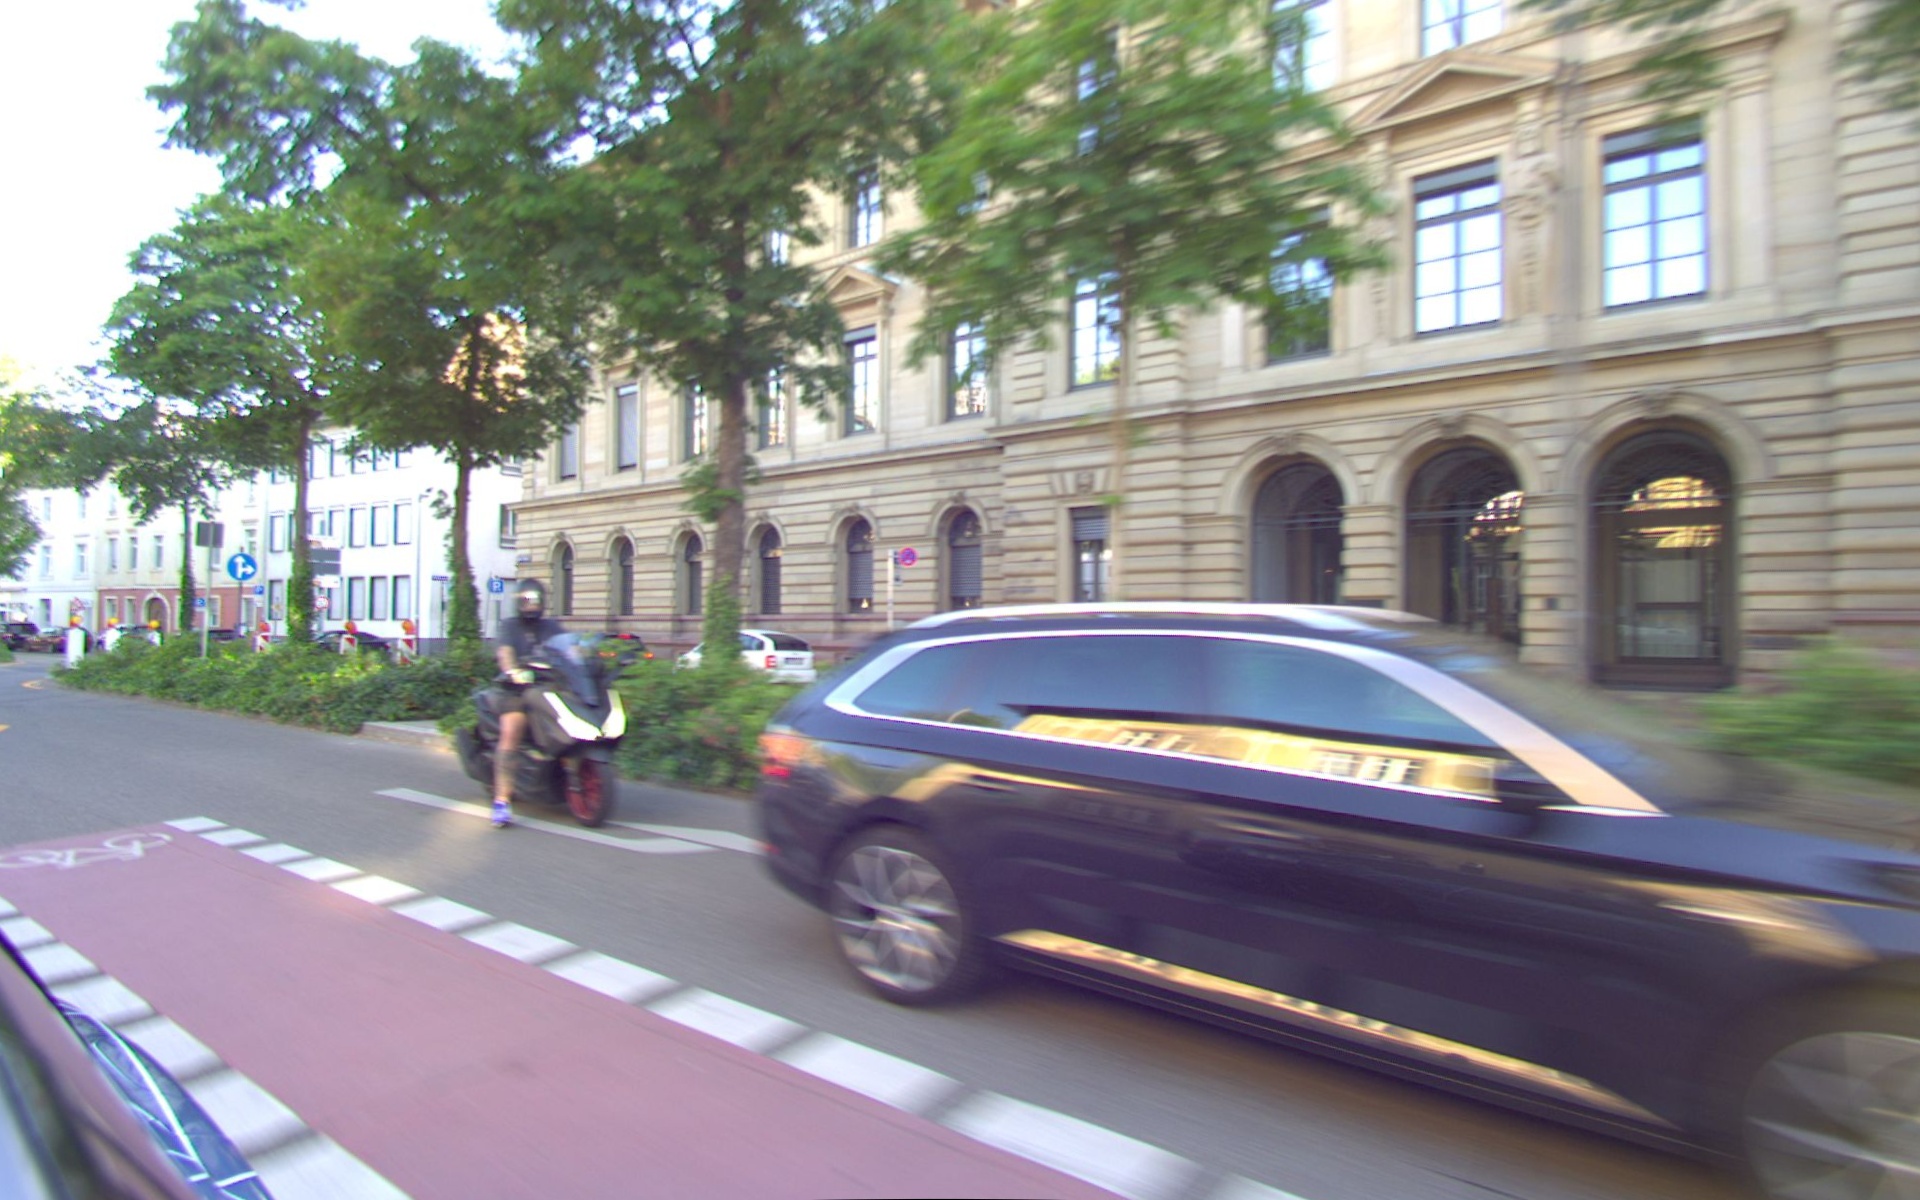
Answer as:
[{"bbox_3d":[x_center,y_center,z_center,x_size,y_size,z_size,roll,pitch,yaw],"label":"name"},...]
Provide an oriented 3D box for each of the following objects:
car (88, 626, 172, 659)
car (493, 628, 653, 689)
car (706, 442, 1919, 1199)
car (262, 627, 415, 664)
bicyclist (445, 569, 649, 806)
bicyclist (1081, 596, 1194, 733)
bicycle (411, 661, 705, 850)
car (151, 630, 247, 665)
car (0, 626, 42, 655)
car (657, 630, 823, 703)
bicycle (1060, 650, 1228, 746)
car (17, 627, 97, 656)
[{"bbox_3d":[-41.727,2.101,50.861,4.136,1.583,1.790,-1,-2,28],"label":"car"},{"bbox_3d":[-10.445,1.539,27.178,4.638,1.519,1.861,-1,-4,39],"label":"car"},{"bbox_3d":[1.484,0.576,3.413,4.727,1.670,1.976,-1,-2,36],"label":"car"},{"bbox_3d":[-23.875,1.747,39.032,1.766,1.332,4.710,-1,-3,41],"label":"car"},{"bbox_3d":[-2.974,0.572,7.279,1.229,1.535,0.859,-1,0,38],"label":"bicyclist"},{"bbox_3d":[2.524,0.907,14.370,1.284,1.848,0.872,-1,-5,39],"label":"bicyclist"},{"bbox_3d":[-2.946,1.010,7.262,2.450,1.050,0.862,-1,-1,39],"label":"bicycle"},{"bbox_3d":[-35.647,2.193,47.392,4.768,1.519,1.863,-1,-1,30],"label":"car"},{"bbox_3d":[-54.239,2.282,57.276,4.365,1.583,1.803,-1,-2,25],"label":"car"},{"bbox_3d":[-5.075,1.468,23.169,3.841,1.519,1.652,-1,-3,38],"label":"car"},{"bbox_3d":[2.573,1.354,14.297,2.173,1.203,0.872,-1,-5,39],"label":"bicycle"},{"bbox_3d":[-49.165,2.230,55.098,4.170,1.499,1.757,-1,-1,25],"label":"car"}]
